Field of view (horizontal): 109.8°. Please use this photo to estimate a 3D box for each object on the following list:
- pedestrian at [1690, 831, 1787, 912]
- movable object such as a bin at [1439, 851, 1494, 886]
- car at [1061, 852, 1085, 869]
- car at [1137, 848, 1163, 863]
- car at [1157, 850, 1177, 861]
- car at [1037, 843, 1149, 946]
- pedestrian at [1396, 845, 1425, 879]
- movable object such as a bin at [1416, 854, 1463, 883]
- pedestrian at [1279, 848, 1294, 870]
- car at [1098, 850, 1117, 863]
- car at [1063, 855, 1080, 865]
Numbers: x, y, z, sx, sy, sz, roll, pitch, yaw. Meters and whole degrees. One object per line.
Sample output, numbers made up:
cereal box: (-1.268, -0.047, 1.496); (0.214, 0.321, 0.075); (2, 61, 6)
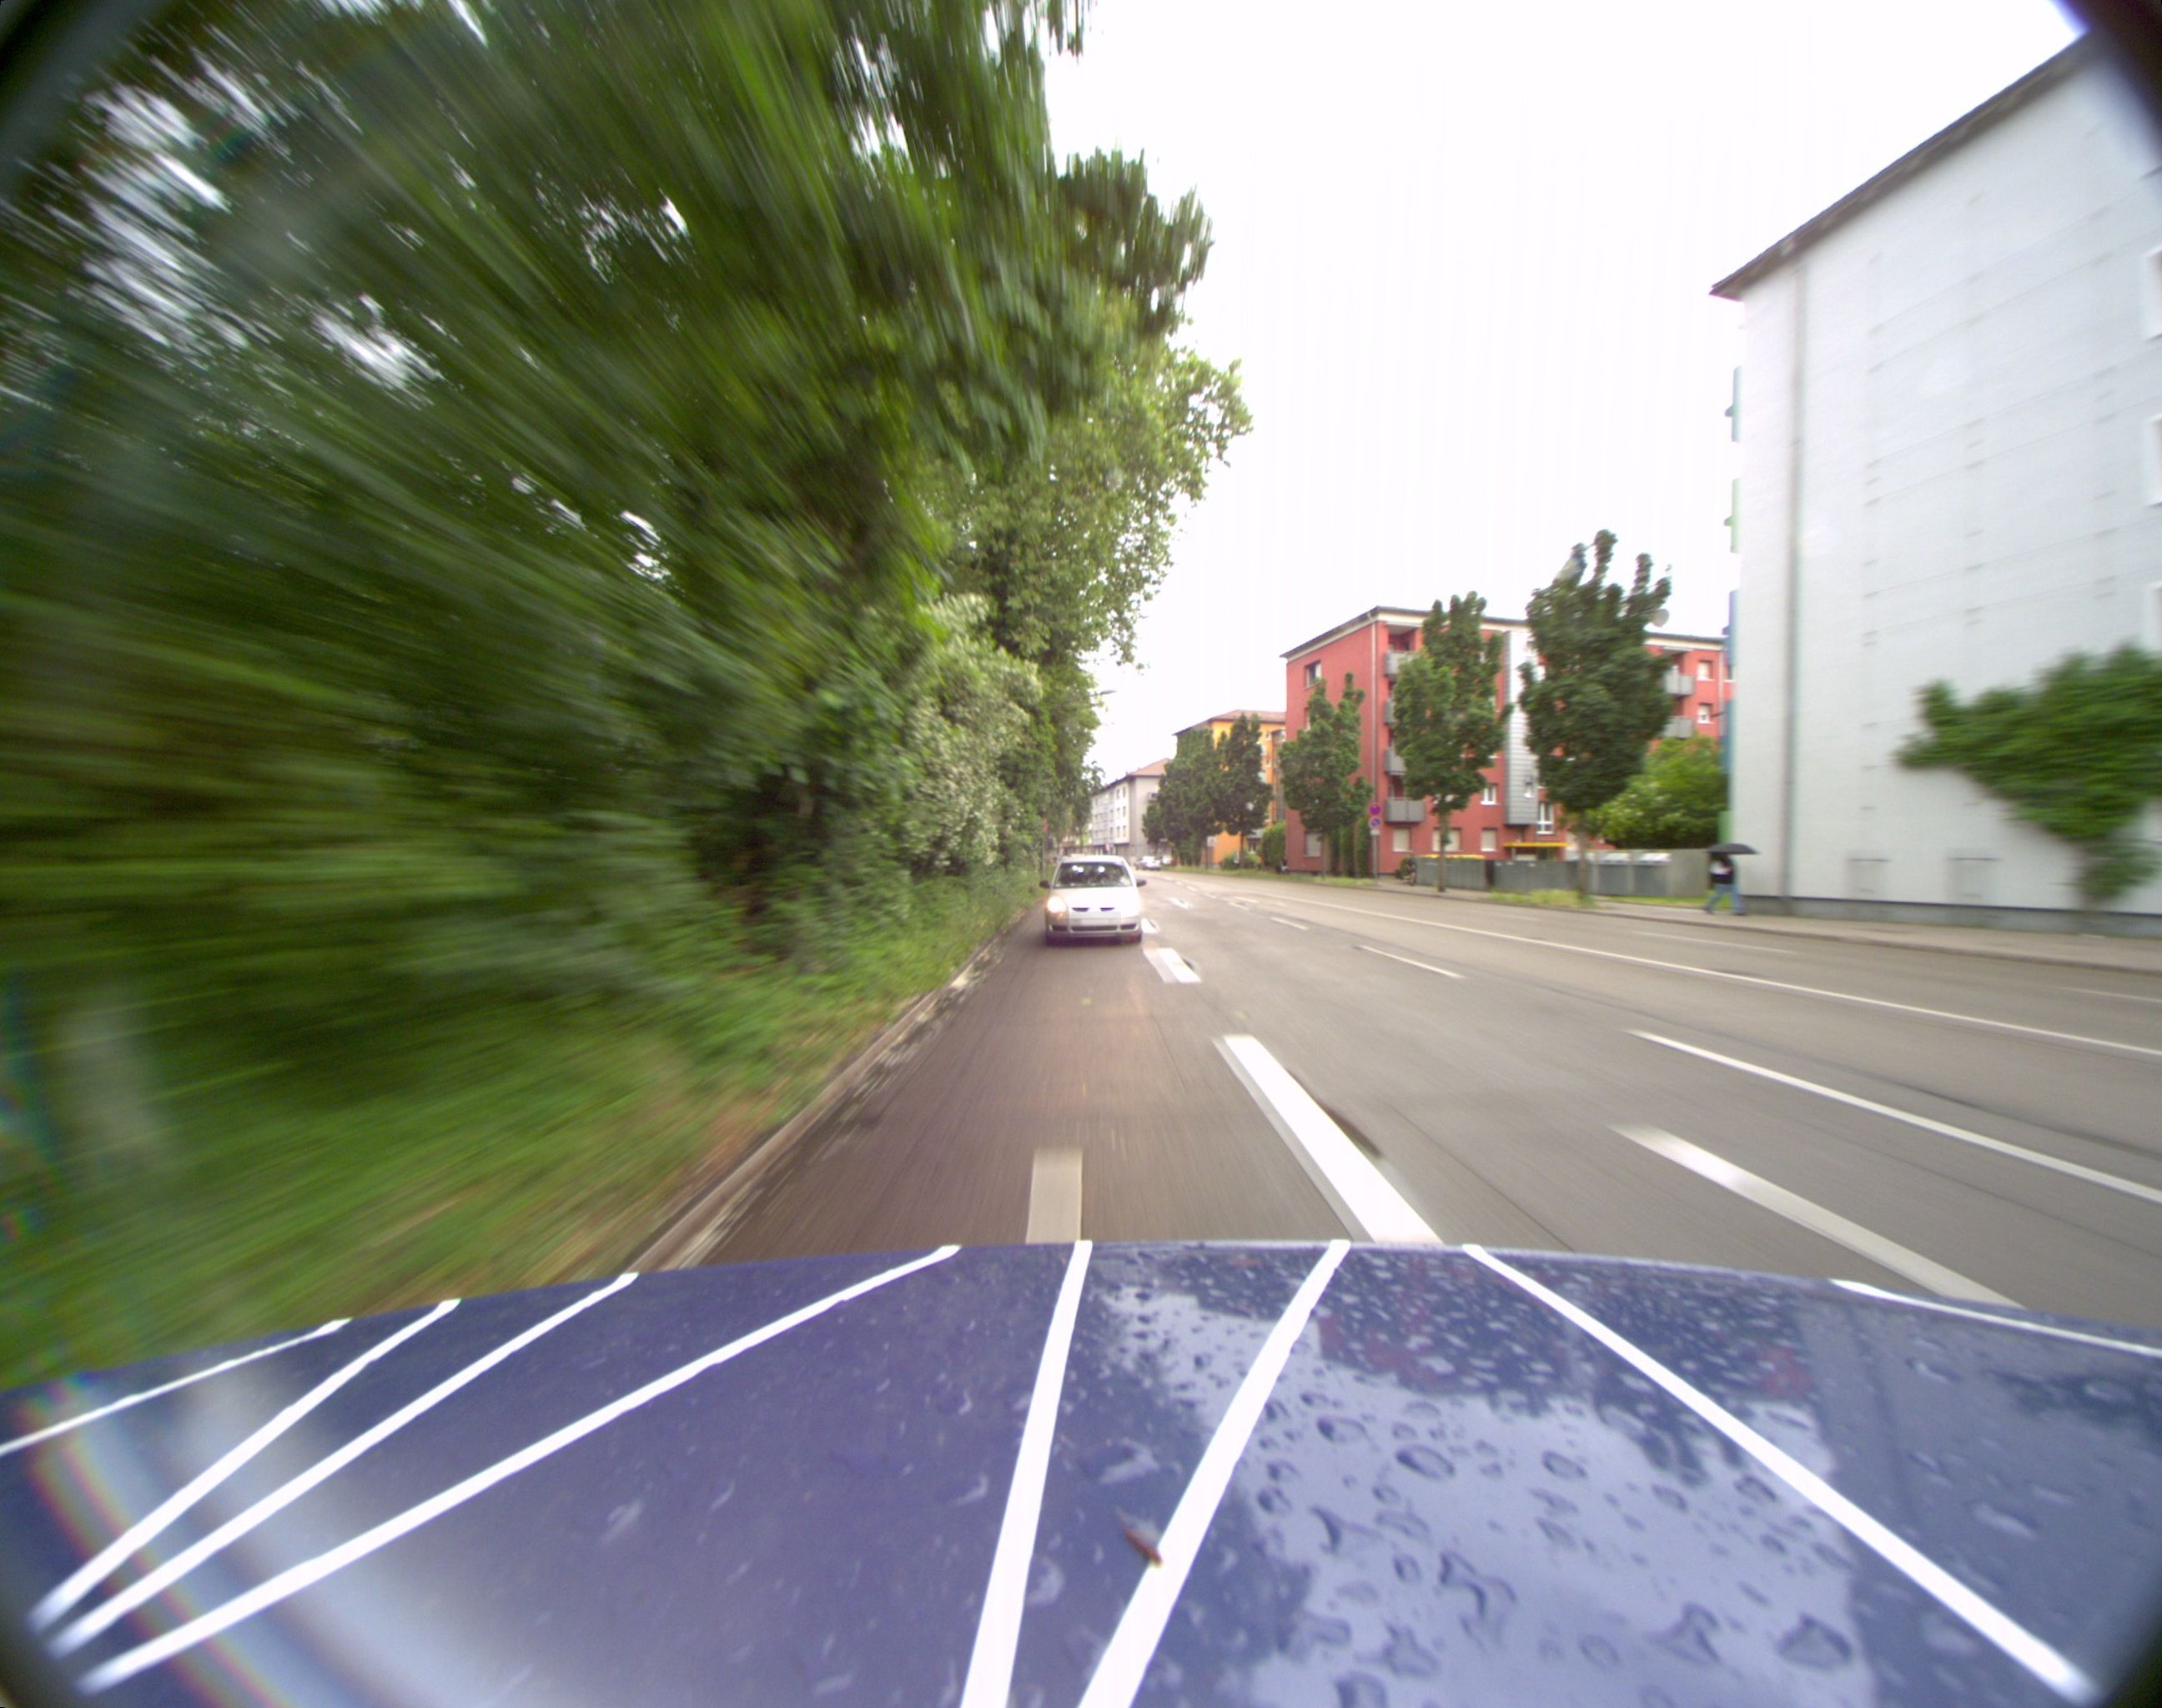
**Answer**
pedestrian: (15.102, 0.399, 17.499); (1.137, 1.793, 1.262); (0, 0, -3)
movable object such as a bin: (16.965, 0.620, 33.509); (1.219, 1.476, 2.086); (0, 0, -5)
car: (-0.820, 0.640, 76.527); (1.737, 1.590, 3.996); (-1, 1, -10)
car: (6.872, 0.119, 76.039); (1.879, 1.382, 4.625); (2, 0, -5)
car: (12.181, 0.203, 107.621); (1.736, 1.516, 4.225); (1, 0, -10)
car: (0.245, 0.621, 14.297); (1.755, 1.587, 4.168); (-2, 1, 1)
pedestrian: (14.776, 0.368, 34.099); (0.694, 1.508, 1.069); (0, 0, -8)
movable object such as a bin: (16.786, 0.646, 35.679); (1.160, 1.323, 1.965); (0, 0, -5)
pedestrian: (13.751, 0.343, 50.950); (0.673, 1.441, 0.835); (0, 0, -8)
car: (3.403, 0.264, 97.986); (1.879, 1.593, 4.462); (2, 0, -6)
car: (-1.371, 0.849, 111.254); (1.847, 1.377, 4.356); (2, 0, -10)
